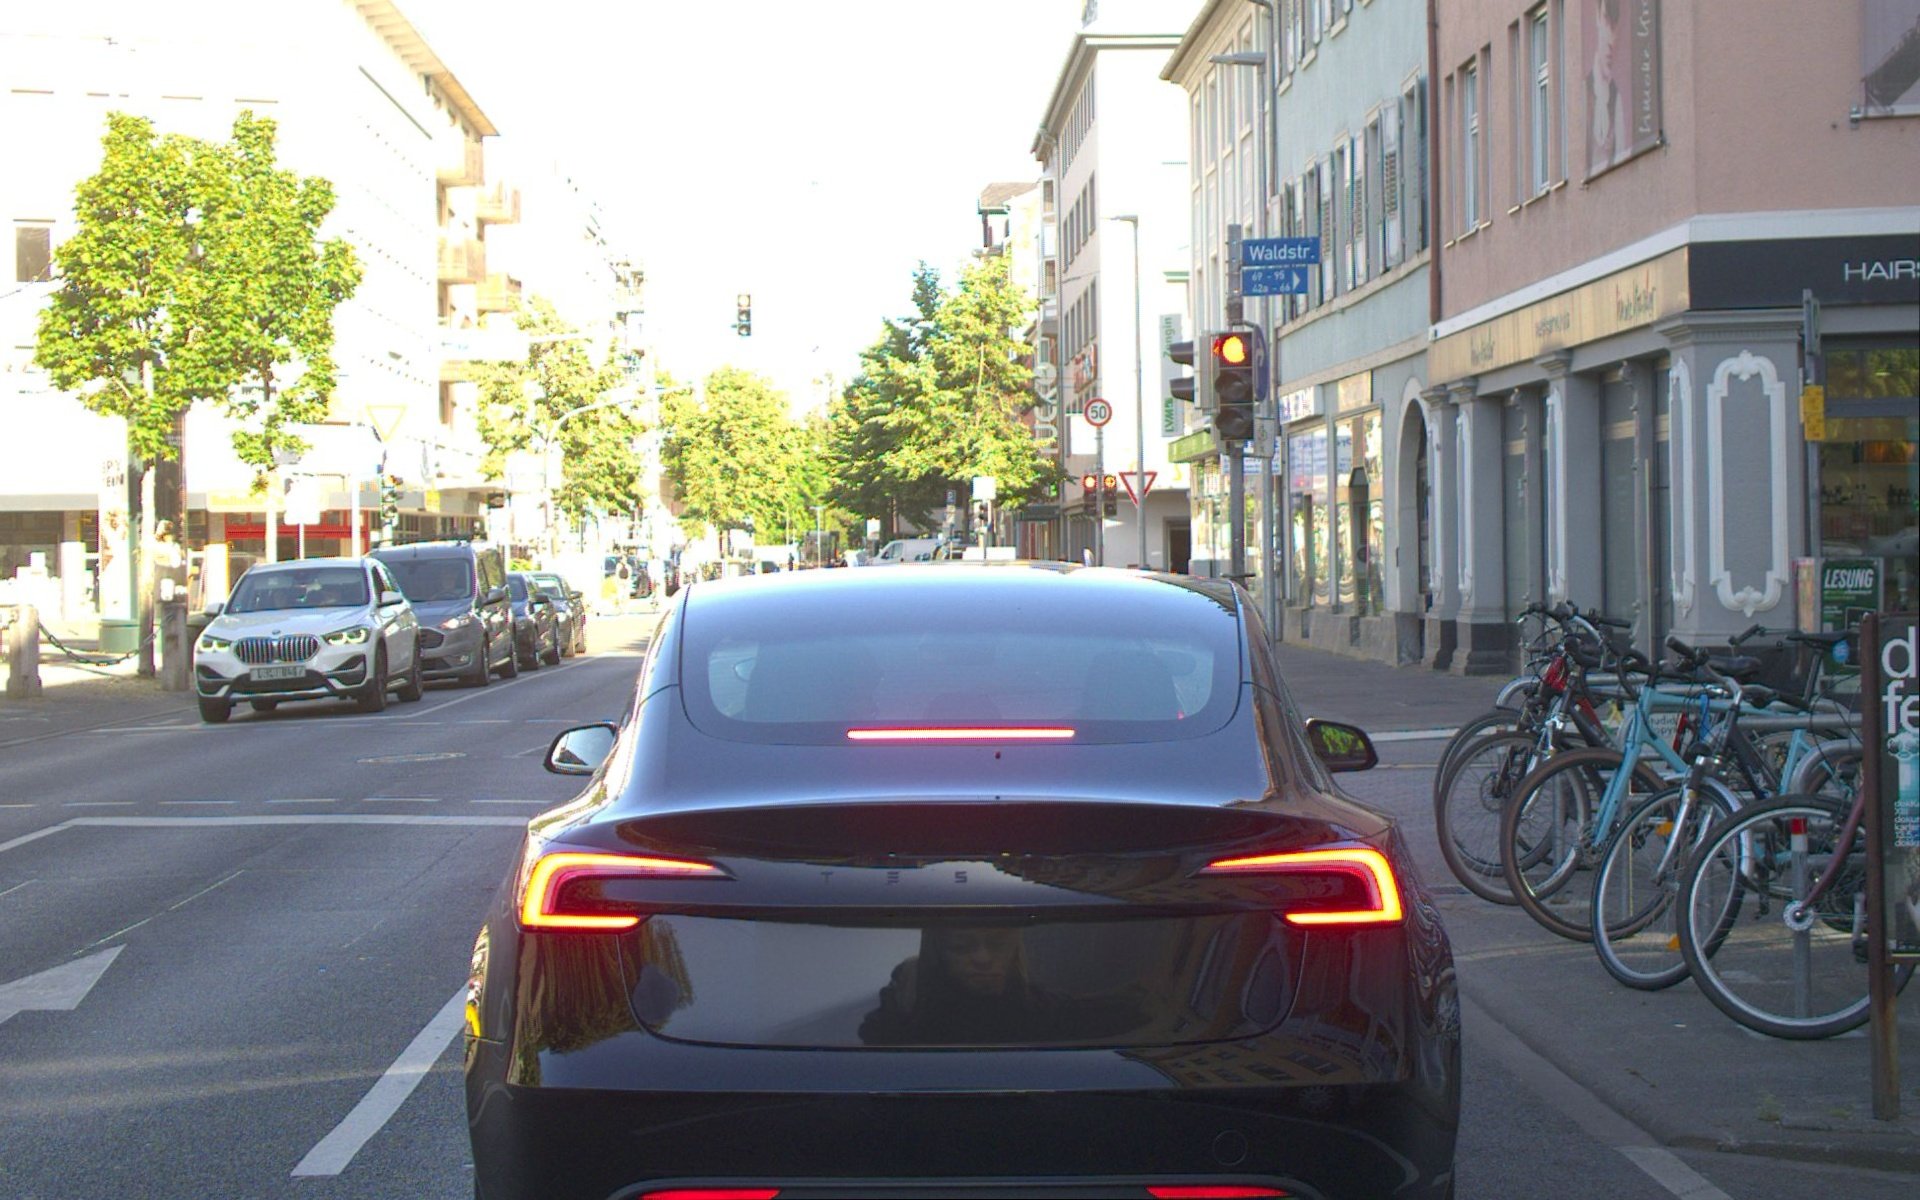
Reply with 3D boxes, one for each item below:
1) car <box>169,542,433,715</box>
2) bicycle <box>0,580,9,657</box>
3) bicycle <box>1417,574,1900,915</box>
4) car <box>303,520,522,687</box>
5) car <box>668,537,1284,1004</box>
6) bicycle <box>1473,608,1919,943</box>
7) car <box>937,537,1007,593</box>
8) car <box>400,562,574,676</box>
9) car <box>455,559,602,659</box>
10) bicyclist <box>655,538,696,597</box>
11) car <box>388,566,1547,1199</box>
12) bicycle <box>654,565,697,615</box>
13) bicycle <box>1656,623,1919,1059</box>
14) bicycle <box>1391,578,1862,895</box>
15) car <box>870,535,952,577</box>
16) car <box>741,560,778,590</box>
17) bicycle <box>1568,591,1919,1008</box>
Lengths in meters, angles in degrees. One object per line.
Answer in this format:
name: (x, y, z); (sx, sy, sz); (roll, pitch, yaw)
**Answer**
car: (-6.728, 0.244, 35.524); (1.807, 1.550, 4.310); (-4, 1, 0)
bicycle: (-15.707, 0.277, 52.230); (2.323, 1.152, 0.843); (0, 1, -5)
bicycle: (2.742, 0.555, 13.646); (1.746, 1.262, 0.781); (-2, 1, 3)
car: (-6.710, -0.007, 42.603); (1.834, 1.838, 4.674); (-4, 1, 0)
car: (-0.016, 0.517, 13.207); (1.993, 1.507, 4.176); (0, 1, -2)
bicycle: (2.809, 0.621, 12.468); (1.798, 1.120, 0.781); (-2, 1, 5)
car: (0.324, -1.035, 100.803); (1.993, 1.623, 4.000); (0, 1, 0)
car: (-6.741, 0.236, 49.431); (1.993, 1.405, 4.675); (-4, 1, -3)
car: (-7.106, 0.118, 57.022); (1.993, 1.431, 4.675); (-4, 1, -3)
bicyclist: (-7.905, -0.914, 95.612); (1.126, 1.623, 0.965); (0, 1, -3)
car: (-0.008, 0.658, 7.499); (1.848, 1.450, 4.000); (0, 1, -1)
bicycle: (-7.887, -0.299, 95.529); (1.111, 1.340, 4.001); (0, 1, -3)
bicycle: (3.034, 0.668, 9.985); (1.886, 1.189, 0.691); (-2, 1, 5)
bicycle: (2.812, 0.567, 14.677); (1.862, 1.253, 0.832); (-2, 1, 5)
car: (-2.408, -2.154, 167.552); (3.986, 2.007, 2.000); (0, 1, -2)
car: (-10.929, -1.374, 187.073); (1.993, 1.631, 4.001); (0, 1, -3)
bicycle: (2.888, 0.618, 11.116); (1.722, 1.263, 0.790); (-2, 1, 5)
